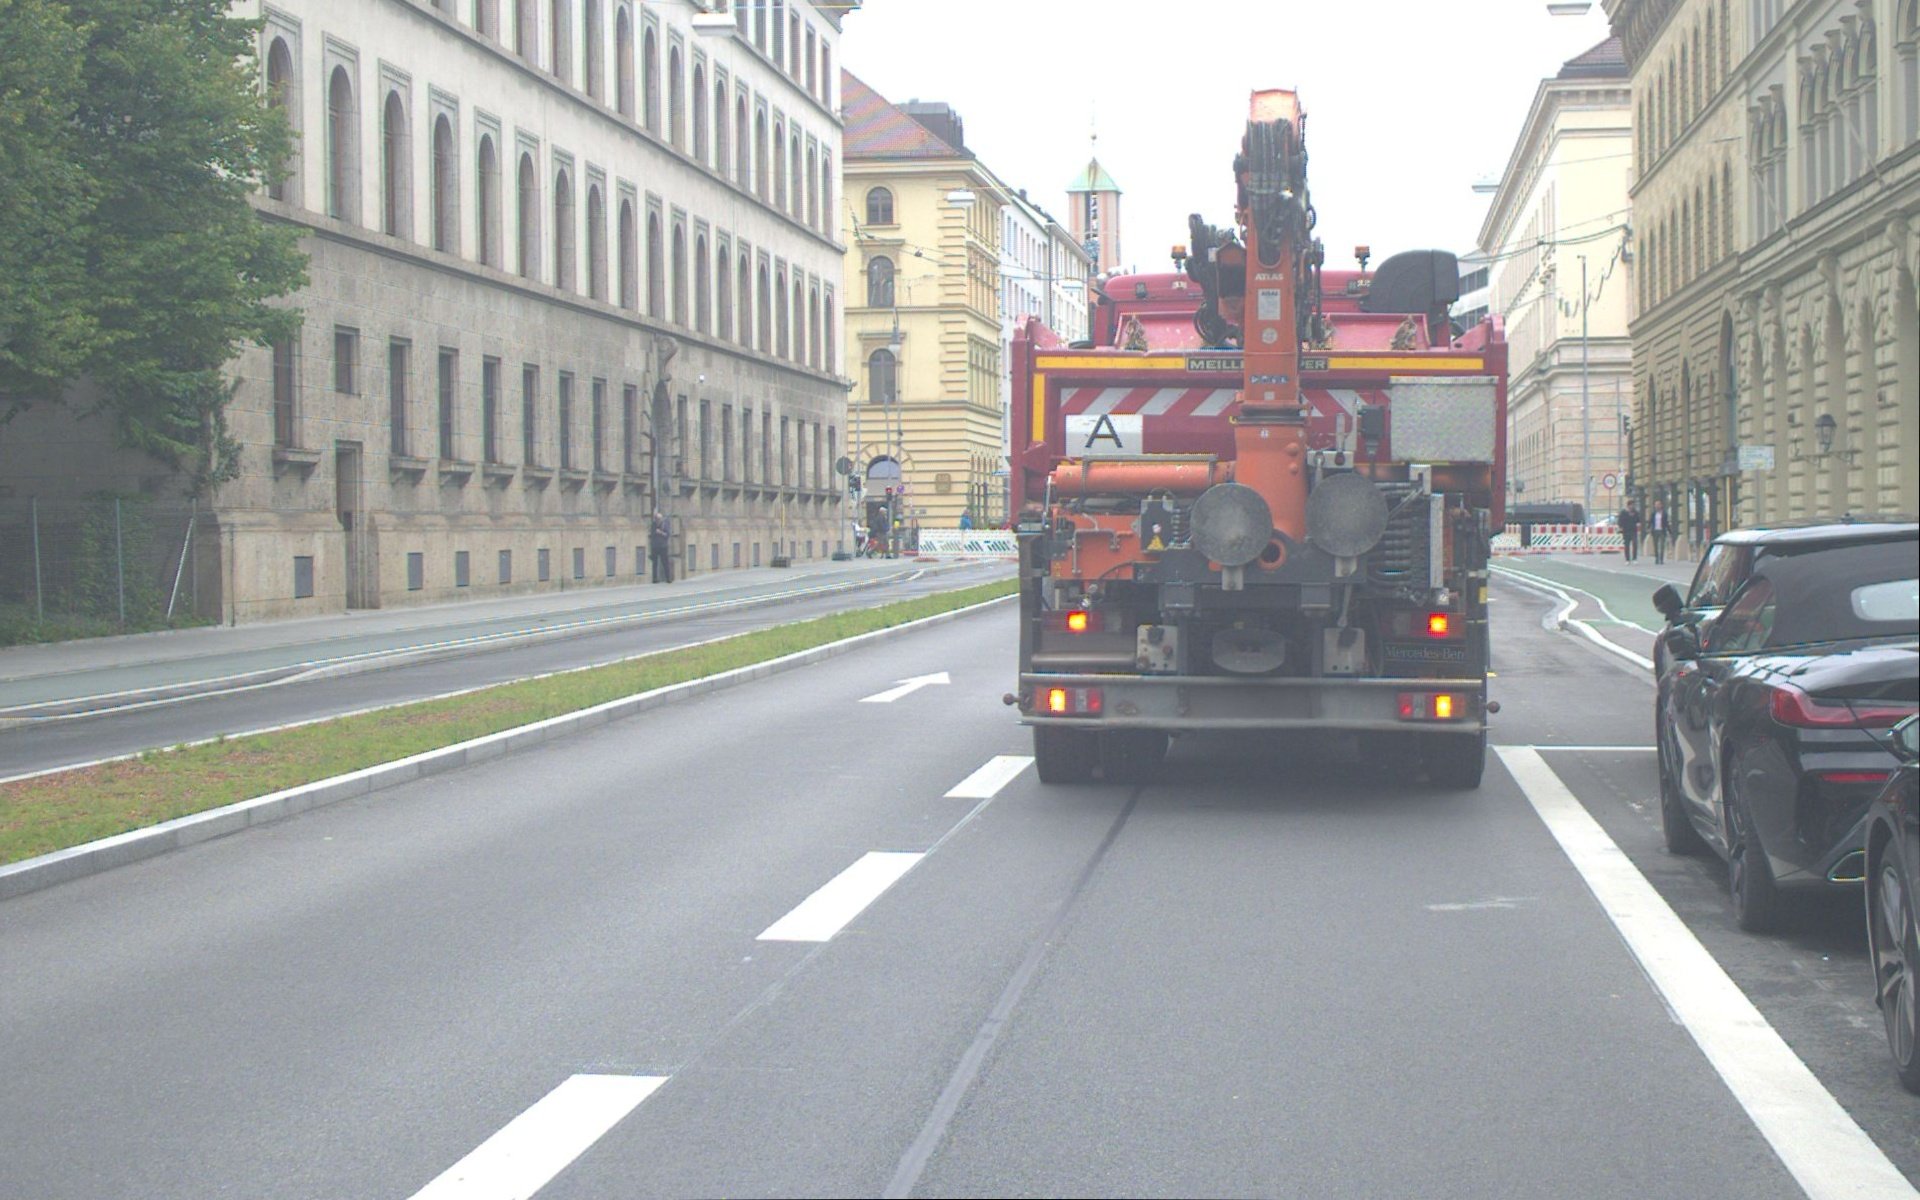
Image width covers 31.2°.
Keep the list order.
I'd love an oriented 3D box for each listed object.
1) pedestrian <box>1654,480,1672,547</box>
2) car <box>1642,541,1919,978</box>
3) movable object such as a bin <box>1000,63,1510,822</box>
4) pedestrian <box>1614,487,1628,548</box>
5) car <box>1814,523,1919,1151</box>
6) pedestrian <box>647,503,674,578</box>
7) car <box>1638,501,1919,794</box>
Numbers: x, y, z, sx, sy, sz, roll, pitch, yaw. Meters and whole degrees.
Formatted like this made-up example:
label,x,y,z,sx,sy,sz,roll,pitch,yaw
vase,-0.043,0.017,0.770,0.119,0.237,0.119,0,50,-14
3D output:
label,x,y,z,sx,sy,sz,roll,pitch,yaw
pedestrian,19.404,-2.381,94.890,0.446,1.830,0.556,-1,1,7
car,3.735,0.492,13.456,1.680,1.381,4.426,1,2,6
movable object such as a bin,1.655,-0.825,19.331,2.424,3.599,5.851,0,2,5
pedestrian,18.255,-2.282,95.002,0.337,1.666,0.440,-1,1,7
car,3.091,0.583,7.229,1.802,1.475,4.686,-1,2,5
pedestrian,-7.376,-1.469,84.797,0.589,1.825,0.499,0,2,5
car,4.806,0.202,19.385,1.610,1.490,3.424,-1,2,6
